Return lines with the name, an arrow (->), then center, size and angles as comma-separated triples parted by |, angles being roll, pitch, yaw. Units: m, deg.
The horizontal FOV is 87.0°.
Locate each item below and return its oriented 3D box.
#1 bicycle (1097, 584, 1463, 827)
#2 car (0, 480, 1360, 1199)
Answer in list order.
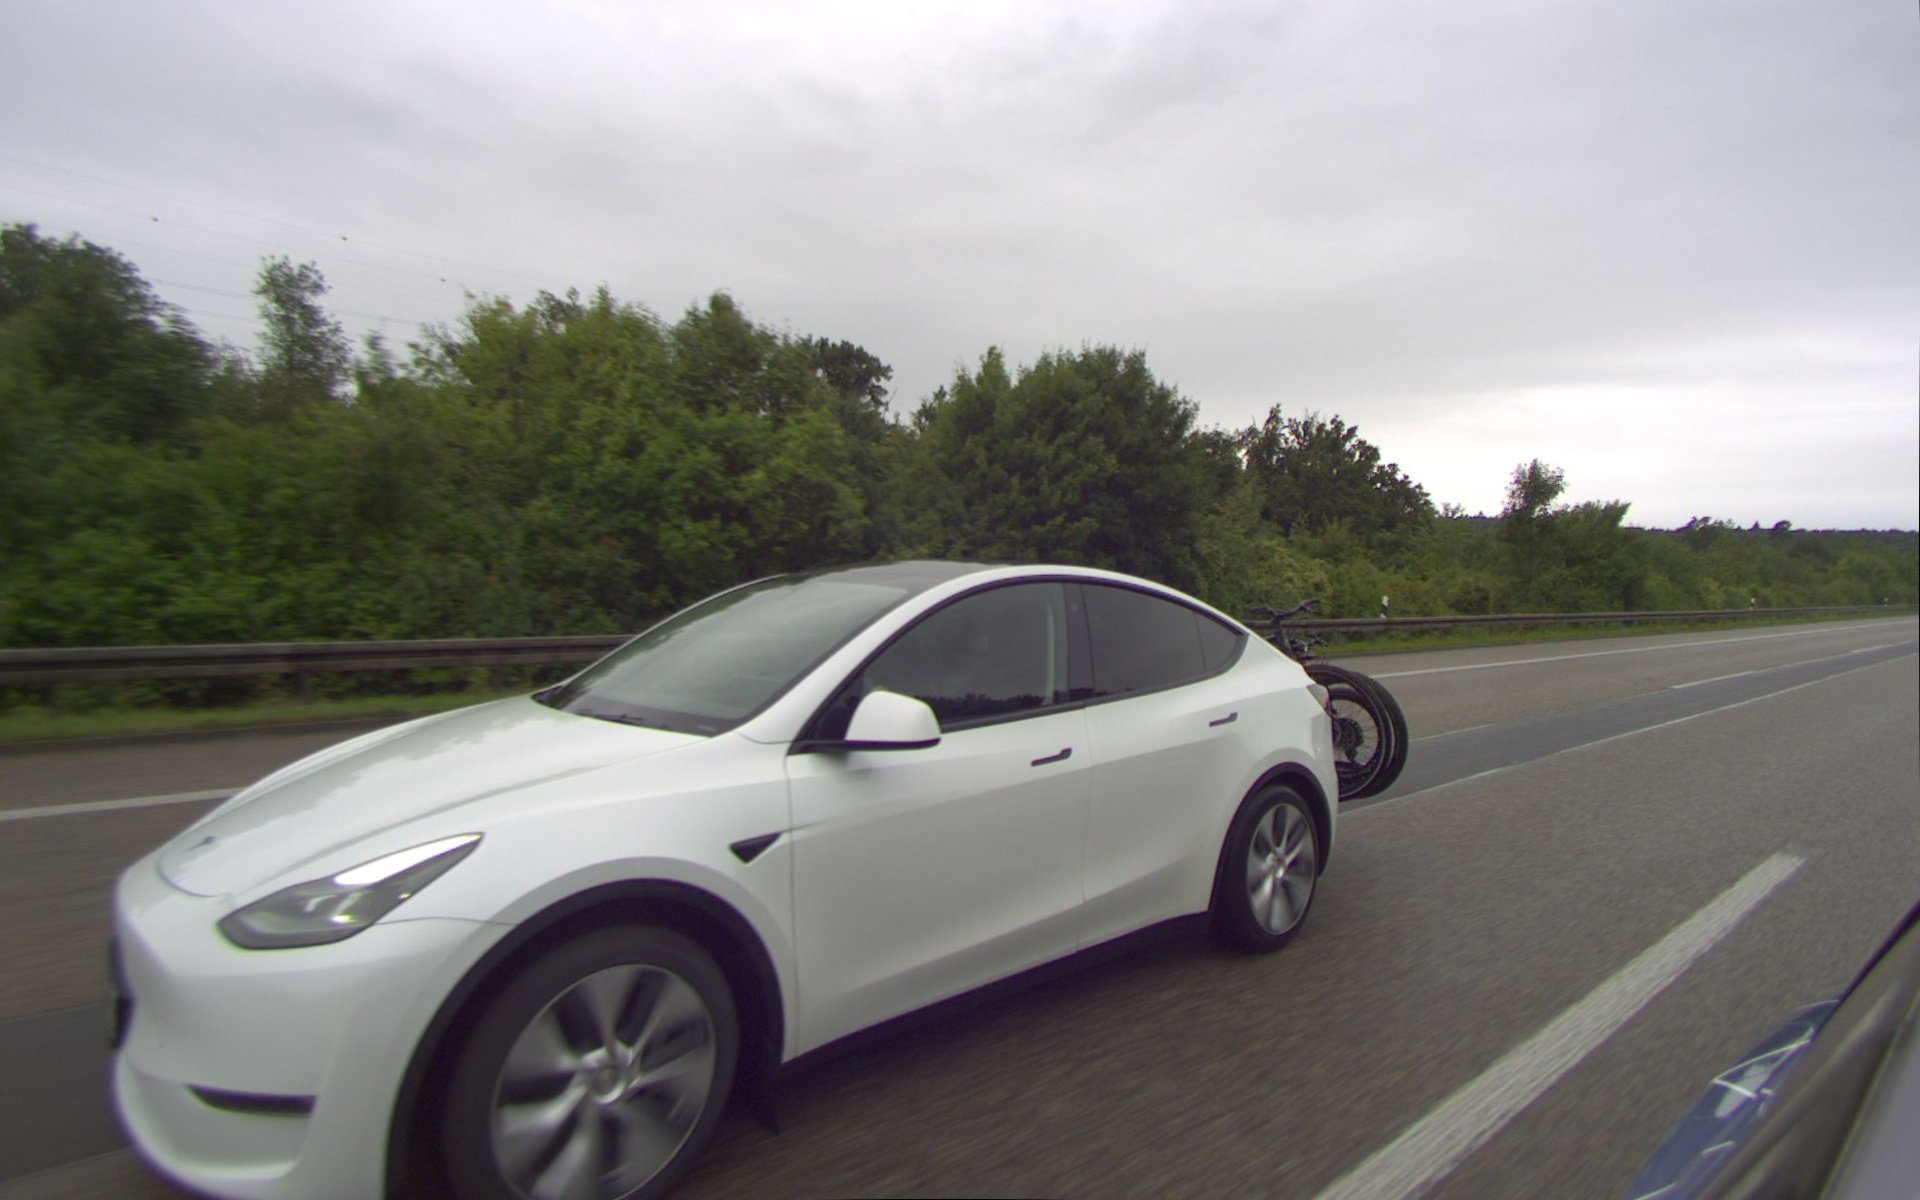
bicycle -> 1.732, 0.478, 5.682 | 0.898, 1.104, 1.756 | -2, 2, -41
car -> -0.646, 0.584, 3.562 | 4.879, 1.587, 1.863 | 0, 1, -42
